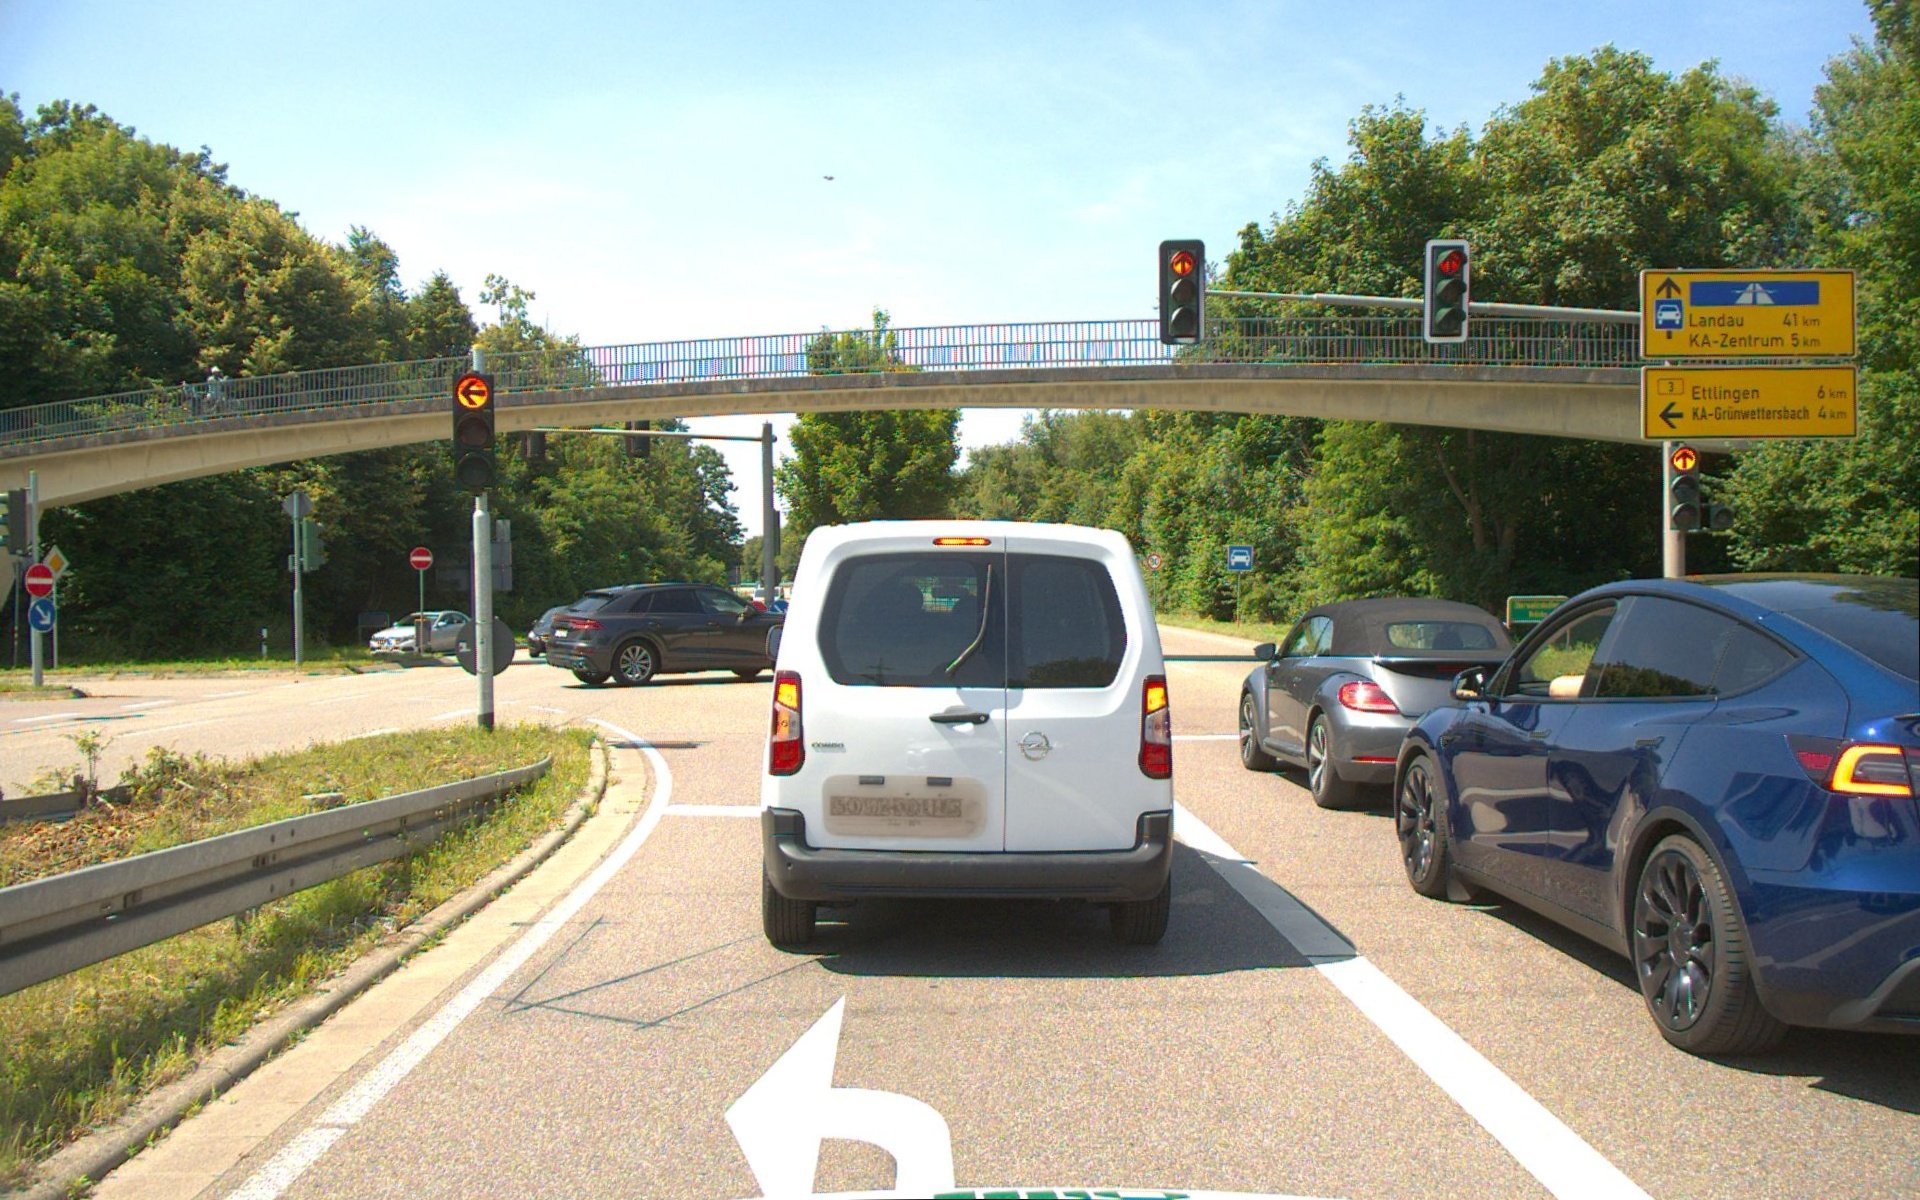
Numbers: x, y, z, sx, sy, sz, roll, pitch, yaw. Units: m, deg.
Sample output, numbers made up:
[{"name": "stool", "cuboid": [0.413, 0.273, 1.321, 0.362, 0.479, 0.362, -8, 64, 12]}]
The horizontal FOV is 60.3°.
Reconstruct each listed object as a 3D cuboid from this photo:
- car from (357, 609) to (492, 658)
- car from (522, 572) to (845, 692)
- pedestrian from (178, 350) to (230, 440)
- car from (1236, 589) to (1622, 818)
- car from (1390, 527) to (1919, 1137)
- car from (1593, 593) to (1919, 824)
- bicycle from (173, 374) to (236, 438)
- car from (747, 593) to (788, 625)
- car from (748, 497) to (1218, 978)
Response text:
[{"name": "car", "cuboid": [-17.447, 1.063, 54.125, 1.951, 1.397, 4.786, -1, 0, 14]}, {"name": "car", "cuboid": [-4.663, 0.498, 28.251, 5.028, 1.728, 2.023, -3, 0, -35]}, {"name": "pedestrian", "cuboid": [-19.739, -5.352, 43.205, 0.765, 2.177, 0.932, -3, -2, 15]}, {"name": "car", "cuboid": [3.468, 0.682, 13.027, 1.862, 1.503, 3.938, 1, 0, -1]}, {"name": "car", "cuboid": [3.329, 0.633, 6.822, 1.862, 1.673, 4.519, 1, 0, -1]}, {"name": "car", "cuboid": [6.832, 0.719, 13.134, 1.862, 1.503, 4.379, 1, 0, -1]}, {"name": "bicycle", "cuboid": [-19.595, -5.029, 42.888, 1.494, 1.500, 0.470, -3, -2, 15]}, {"name": "car", "cuboid": [-12.974, 0.618, 111.939, 2.163, 2.028, 5.487, -2, 0, -1]}, {"name": "car", "cuboid": [0.035, 0.509, 8.436, 1.812, 1.857, 3.980, 1, 1, -2]}]
